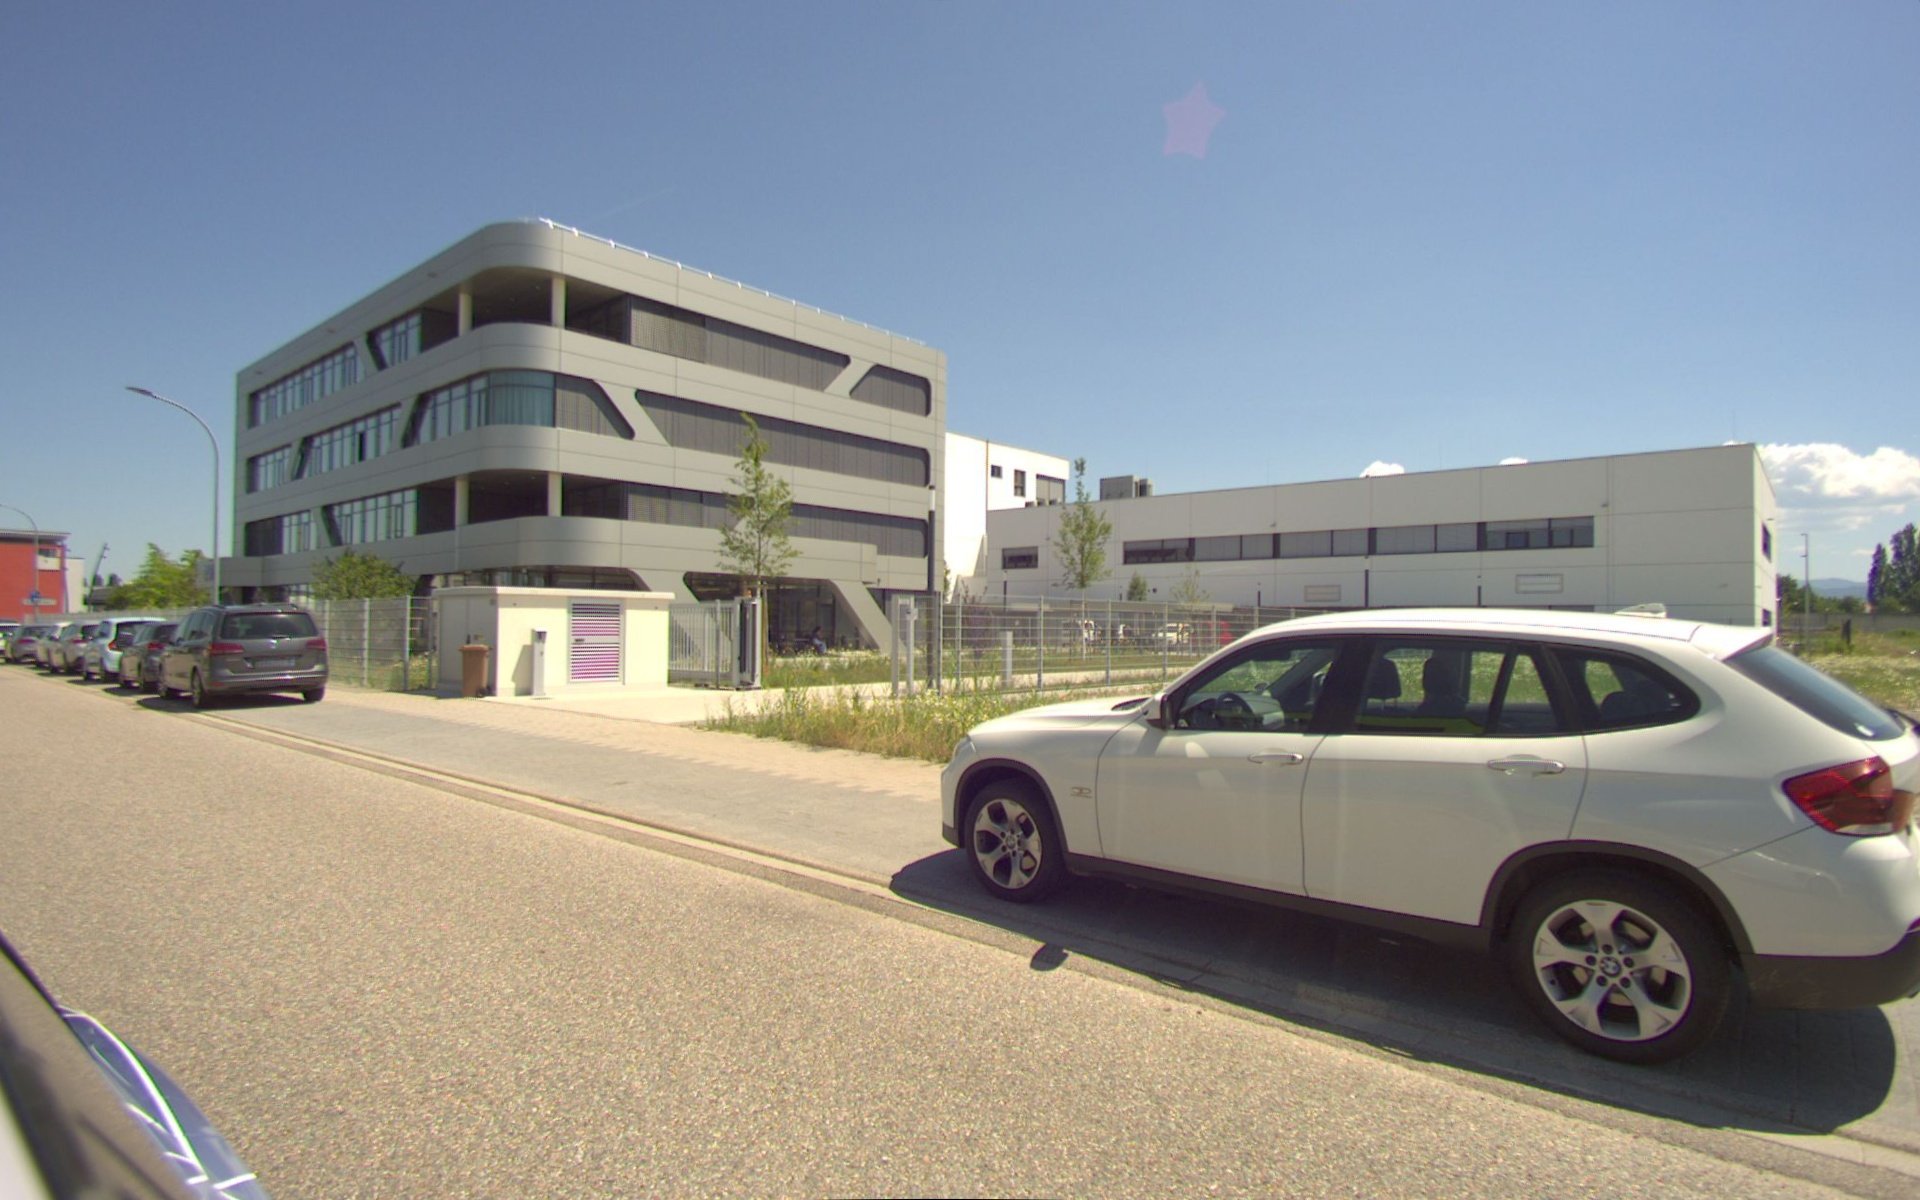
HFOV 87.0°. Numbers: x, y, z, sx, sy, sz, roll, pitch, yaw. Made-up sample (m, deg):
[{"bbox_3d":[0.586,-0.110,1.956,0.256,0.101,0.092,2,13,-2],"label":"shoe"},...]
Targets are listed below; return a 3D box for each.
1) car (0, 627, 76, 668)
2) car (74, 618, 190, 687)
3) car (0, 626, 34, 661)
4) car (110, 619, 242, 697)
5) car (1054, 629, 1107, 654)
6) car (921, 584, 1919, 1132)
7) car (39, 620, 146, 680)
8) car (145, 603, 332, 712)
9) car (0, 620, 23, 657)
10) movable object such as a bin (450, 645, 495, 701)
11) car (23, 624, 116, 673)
[{"bbox_3d":[-33.287,1.697,36.445,4.638,1.396,1.666,-2,-2,42],"label":"car"},{"bbox_3d":[-20.571,1.250,25.100,3.655,1.548,1.618,-1,-1,41],"label":"car"},{"bbox_3d":[-40.053,1.817,42.099,3.933,1.396,1.682,-2,-2,39],"label":"car"},{"bbox_3d":[-16.935,1.178,21.797,3.971,1.512,1.617,-1,-1,42],"label":"car"},{"bbox_3d":[7.992,2.746,66.829,1.918,1.597,3.953,-1,-3,34],"label":"car"},{"bbox_3d":[1.964,0.768,4.822,4.365,1.554,1.767,-1,-1,43],"label":"car"},{"bbox_3d":[-24.852,1.378,28.939,4.569,1.548,1.685,-1,-1,41],"label":"car"},{"bbox_3d":[-13.100,0.960,18.268,4.620,1.732,1.783,-1,-1,42],"label":"car"},{"bbox_3d":[-44.510,1.774,46.518,4.851,1.664,1.750,-2,-2,43],"label":"car"},{"bbox_3d":[-8.654,1.286,17.968,0.594,0.952,0.517,0,-1,-8],"label":"movable object such as a bin"},{"bbox_3d":[-28.913,1.523,32.830,4.437,1.455,1.685,-1,-1,41],"label":"car"}]
